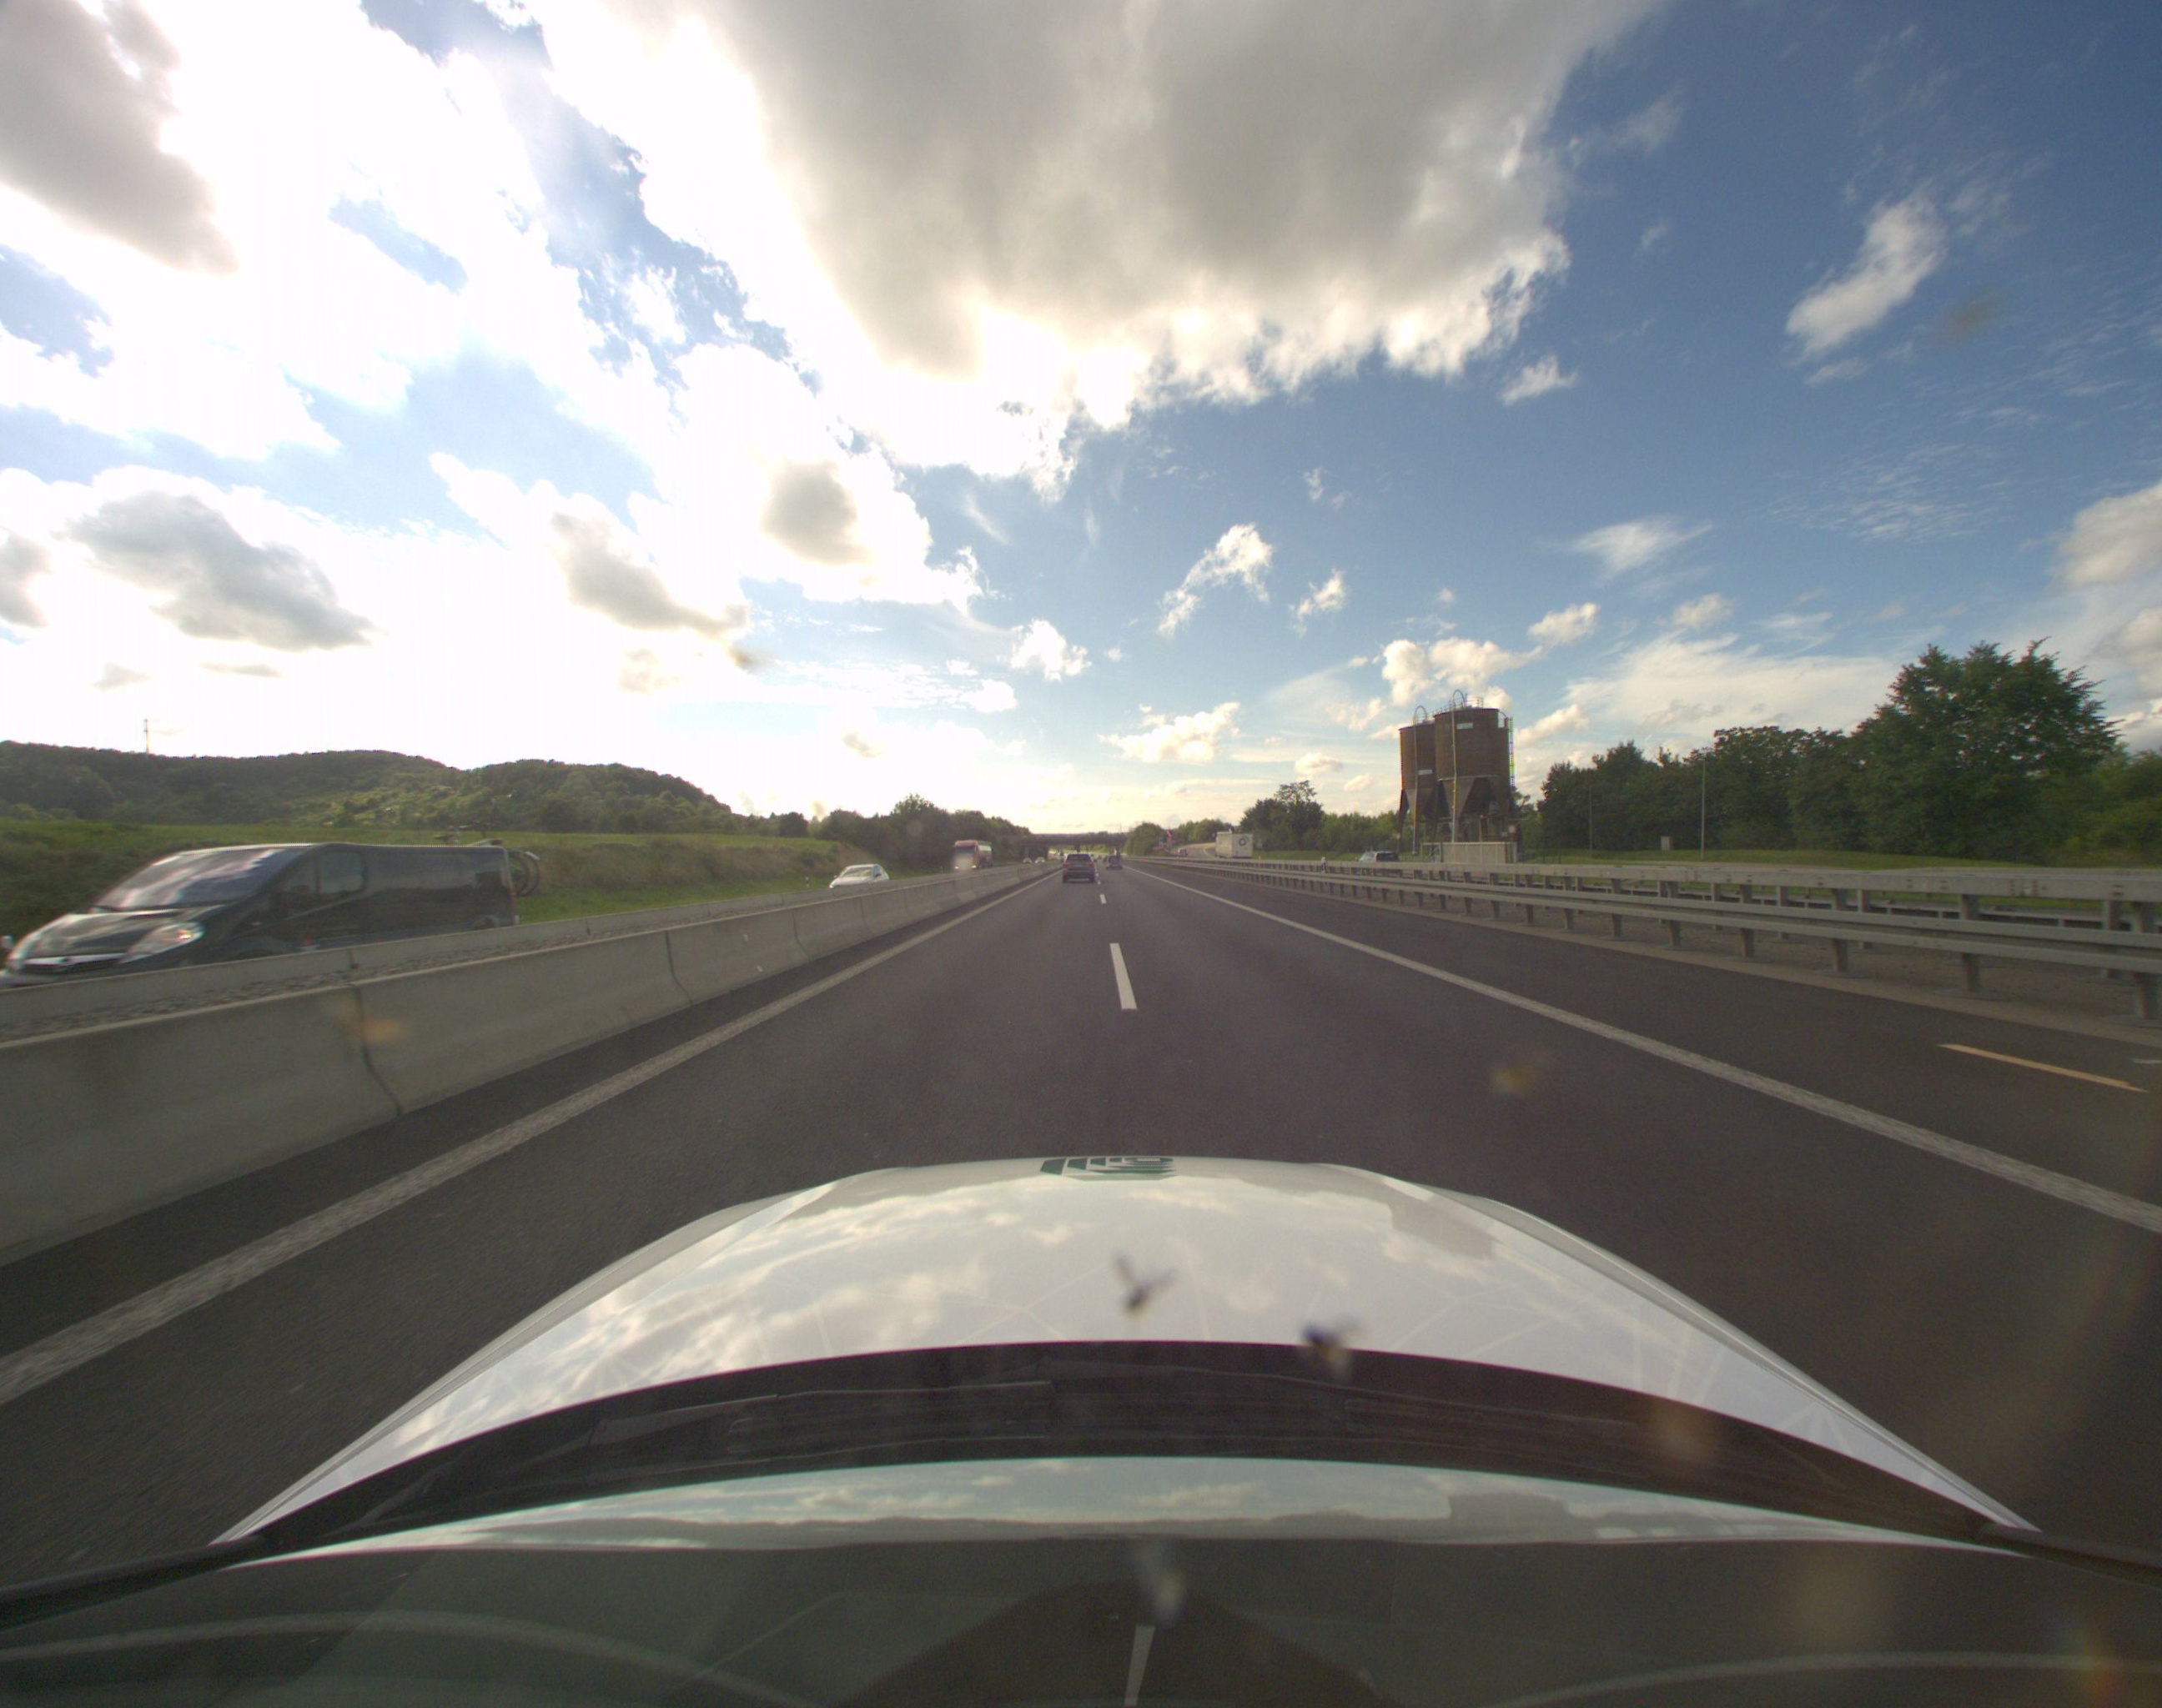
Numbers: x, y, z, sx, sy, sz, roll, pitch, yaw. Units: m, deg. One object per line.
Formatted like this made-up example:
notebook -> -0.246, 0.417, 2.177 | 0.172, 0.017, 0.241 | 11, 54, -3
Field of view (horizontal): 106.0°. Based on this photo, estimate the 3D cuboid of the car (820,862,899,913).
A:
car -> -9.596, 1.398, 35.689 | 1.986, 2.013, 4.679 | -2, 0, 2

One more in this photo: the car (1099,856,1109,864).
car -> 5.030, 1.306, 177.773 | 1.968, 1.779, 4.120 | -3, 0, 1

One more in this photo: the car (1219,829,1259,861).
car -> 19.963, -1.069, 103.619 | 3.564, 3.676, 7.550 | -3, 0, 1

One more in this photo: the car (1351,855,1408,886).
car -> 18.286, 1.001, 50.054 | 1.986, 1.717, 4.001 | -3, 0, 1

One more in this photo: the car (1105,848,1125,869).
car -> 3.655, 0.490, 89.020 | 1.986, 2.081, 4.001 | -3, 0, 1

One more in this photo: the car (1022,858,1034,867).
car -> -11.067, 1.731, 170.037 | 1.986, 1.717, 4.001 | -3, 0, 1

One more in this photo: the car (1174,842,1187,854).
car -> 17.959, -1.003, 147.194 | 1.984, 2.013, 4.006 | -3, 0, 5

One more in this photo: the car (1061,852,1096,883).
car -> -0.101, 0.755, 47.354 | 1.743, 1.630, 3.611 | -3, 0, 2

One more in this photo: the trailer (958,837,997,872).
trailer -> -12.496, 0.106, 99.345 | 2.703, 3.887, 11.165 | -3, 0, 2

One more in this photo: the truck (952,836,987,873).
truck -> -12.702, 0.105, 93.383 | 2.727, 3.924, 6.904 | -3, 0, 2

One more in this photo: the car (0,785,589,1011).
car -> -9.248, 0.423, 10.511 | 1.986, 2.013, 5.843 | -3, 0, 2
